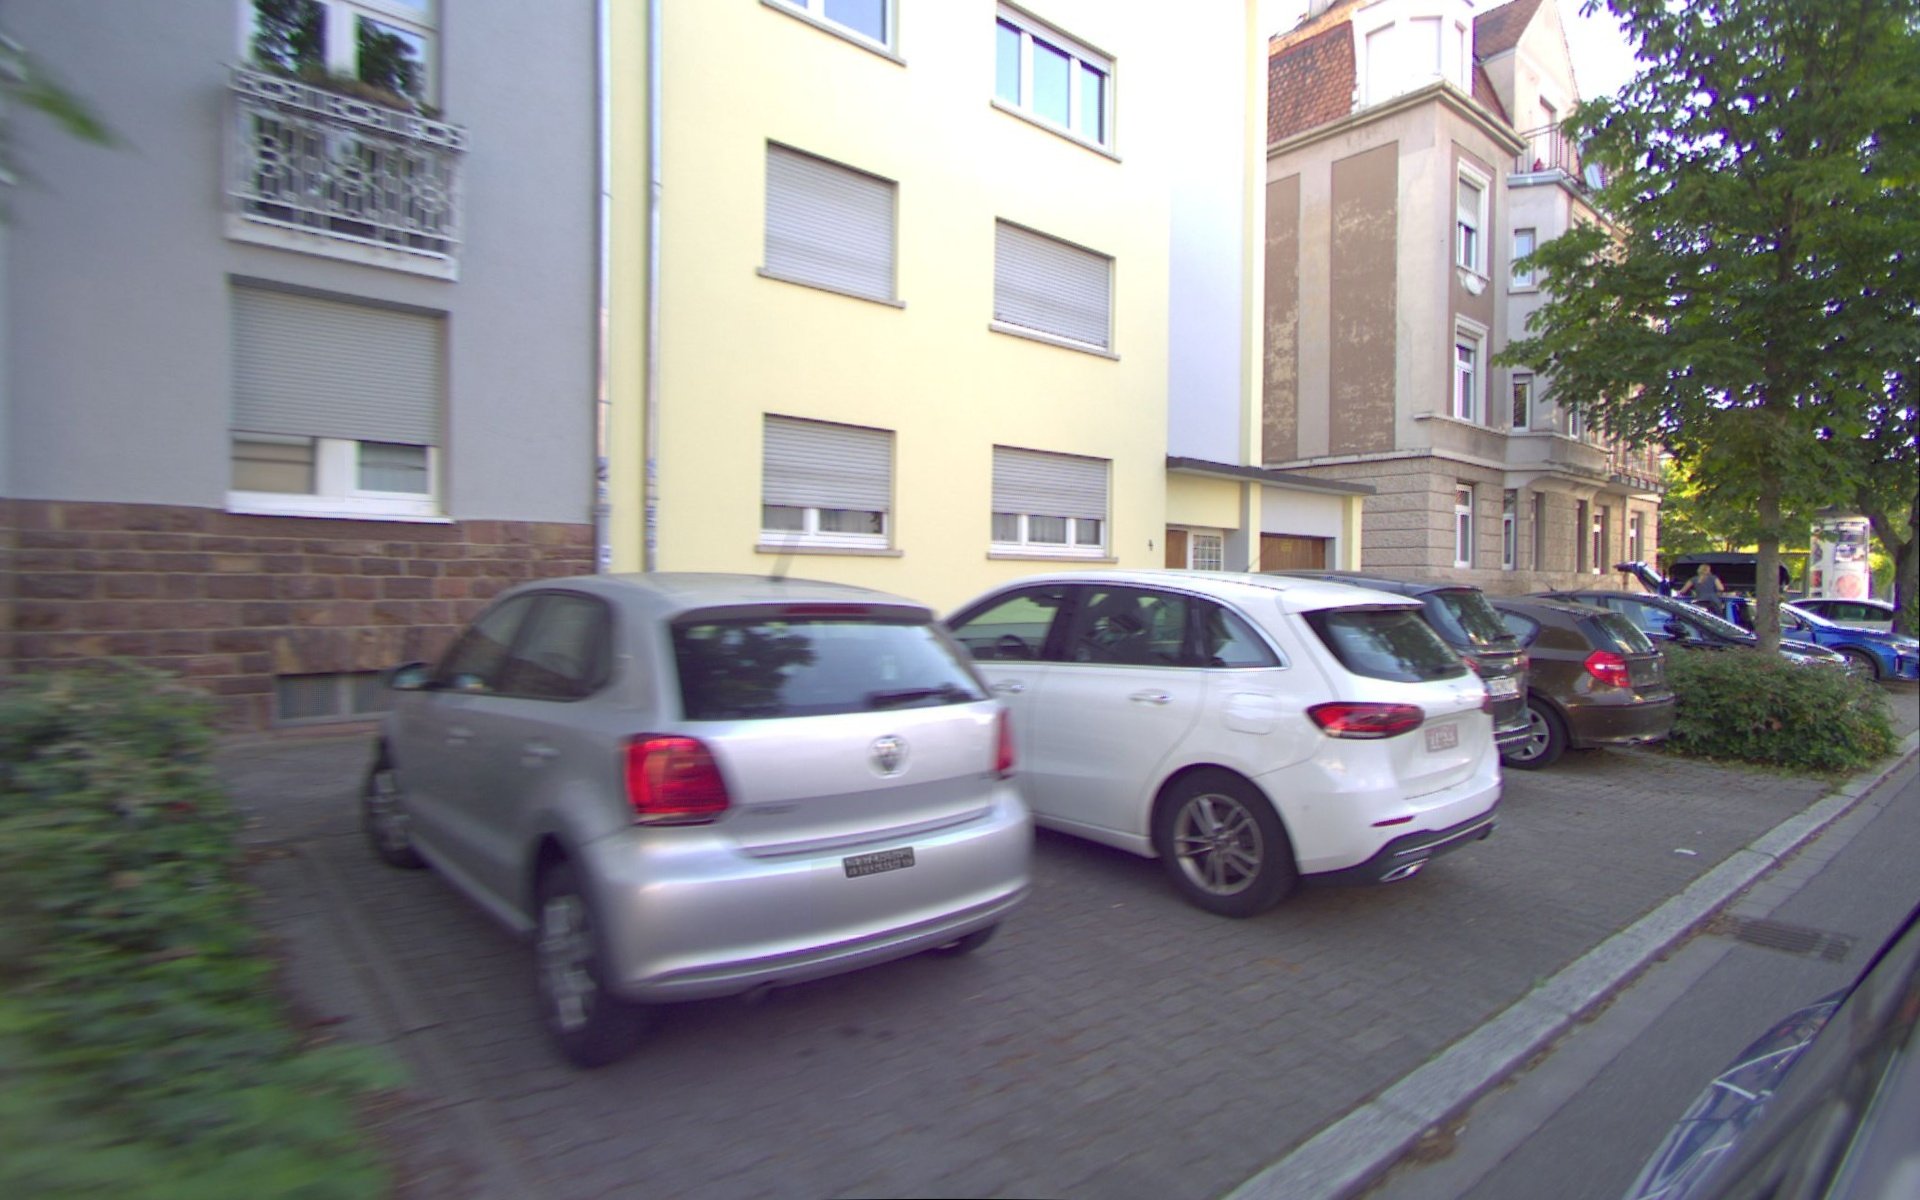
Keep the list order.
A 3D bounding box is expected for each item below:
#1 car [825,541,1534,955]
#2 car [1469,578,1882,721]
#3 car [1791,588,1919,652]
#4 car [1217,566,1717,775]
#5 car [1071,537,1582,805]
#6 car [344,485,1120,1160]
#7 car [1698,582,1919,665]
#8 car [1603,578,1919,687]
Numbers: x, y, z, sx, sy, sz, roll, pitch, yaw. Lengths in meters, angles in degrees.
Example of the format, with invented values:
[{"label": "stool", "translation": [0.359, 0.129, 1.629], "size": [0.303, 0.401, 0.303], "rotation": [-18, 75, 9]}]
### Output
[{"label": "car", "translation": [0.964, 0.516, 5.829], "size": [1.695, 1.577, 3.737], "rotation": [-1, 2, -41]}, {"label": "car", "translation": [9.366, 0.526, 13.530], "size": [1.841, 1.578, 4.198], "rotation": [1, 1, -41]}, {"label": "car", "translation": [23.835, 0.496, 25.648], "size": [1.830, 1.524, 4.055], "rotation": [-1, 2, -41]}, {"label": "car", "translation": [4.610, 0.490, 9.688], "size": [1.694, 1.577, 3.935], "rotation": [0, 1, -39]}, {"label": "car", "translation": [2.787, 0.399, 8.249], "size": [1.695, 1.674, 3.554], "rotation": [-1, 1, -41]}, {"label": "car", "translation": [-1.333, 0.516, 4.403], "size": [1.713, 1.588, 3.819], "rotation": [0, 0, -41]}, {"label": "car", "translation": [18.298, 0.452, 21.102], "size": [4.478, 1.544, 1.923], "rotation": [3, 1, 44]}, {"label": "car", "translation": [14.130, 0.460, 17.724], "size": [1.842, 1.661, 4.534], "rotation": [-1, 2, -41]}]
